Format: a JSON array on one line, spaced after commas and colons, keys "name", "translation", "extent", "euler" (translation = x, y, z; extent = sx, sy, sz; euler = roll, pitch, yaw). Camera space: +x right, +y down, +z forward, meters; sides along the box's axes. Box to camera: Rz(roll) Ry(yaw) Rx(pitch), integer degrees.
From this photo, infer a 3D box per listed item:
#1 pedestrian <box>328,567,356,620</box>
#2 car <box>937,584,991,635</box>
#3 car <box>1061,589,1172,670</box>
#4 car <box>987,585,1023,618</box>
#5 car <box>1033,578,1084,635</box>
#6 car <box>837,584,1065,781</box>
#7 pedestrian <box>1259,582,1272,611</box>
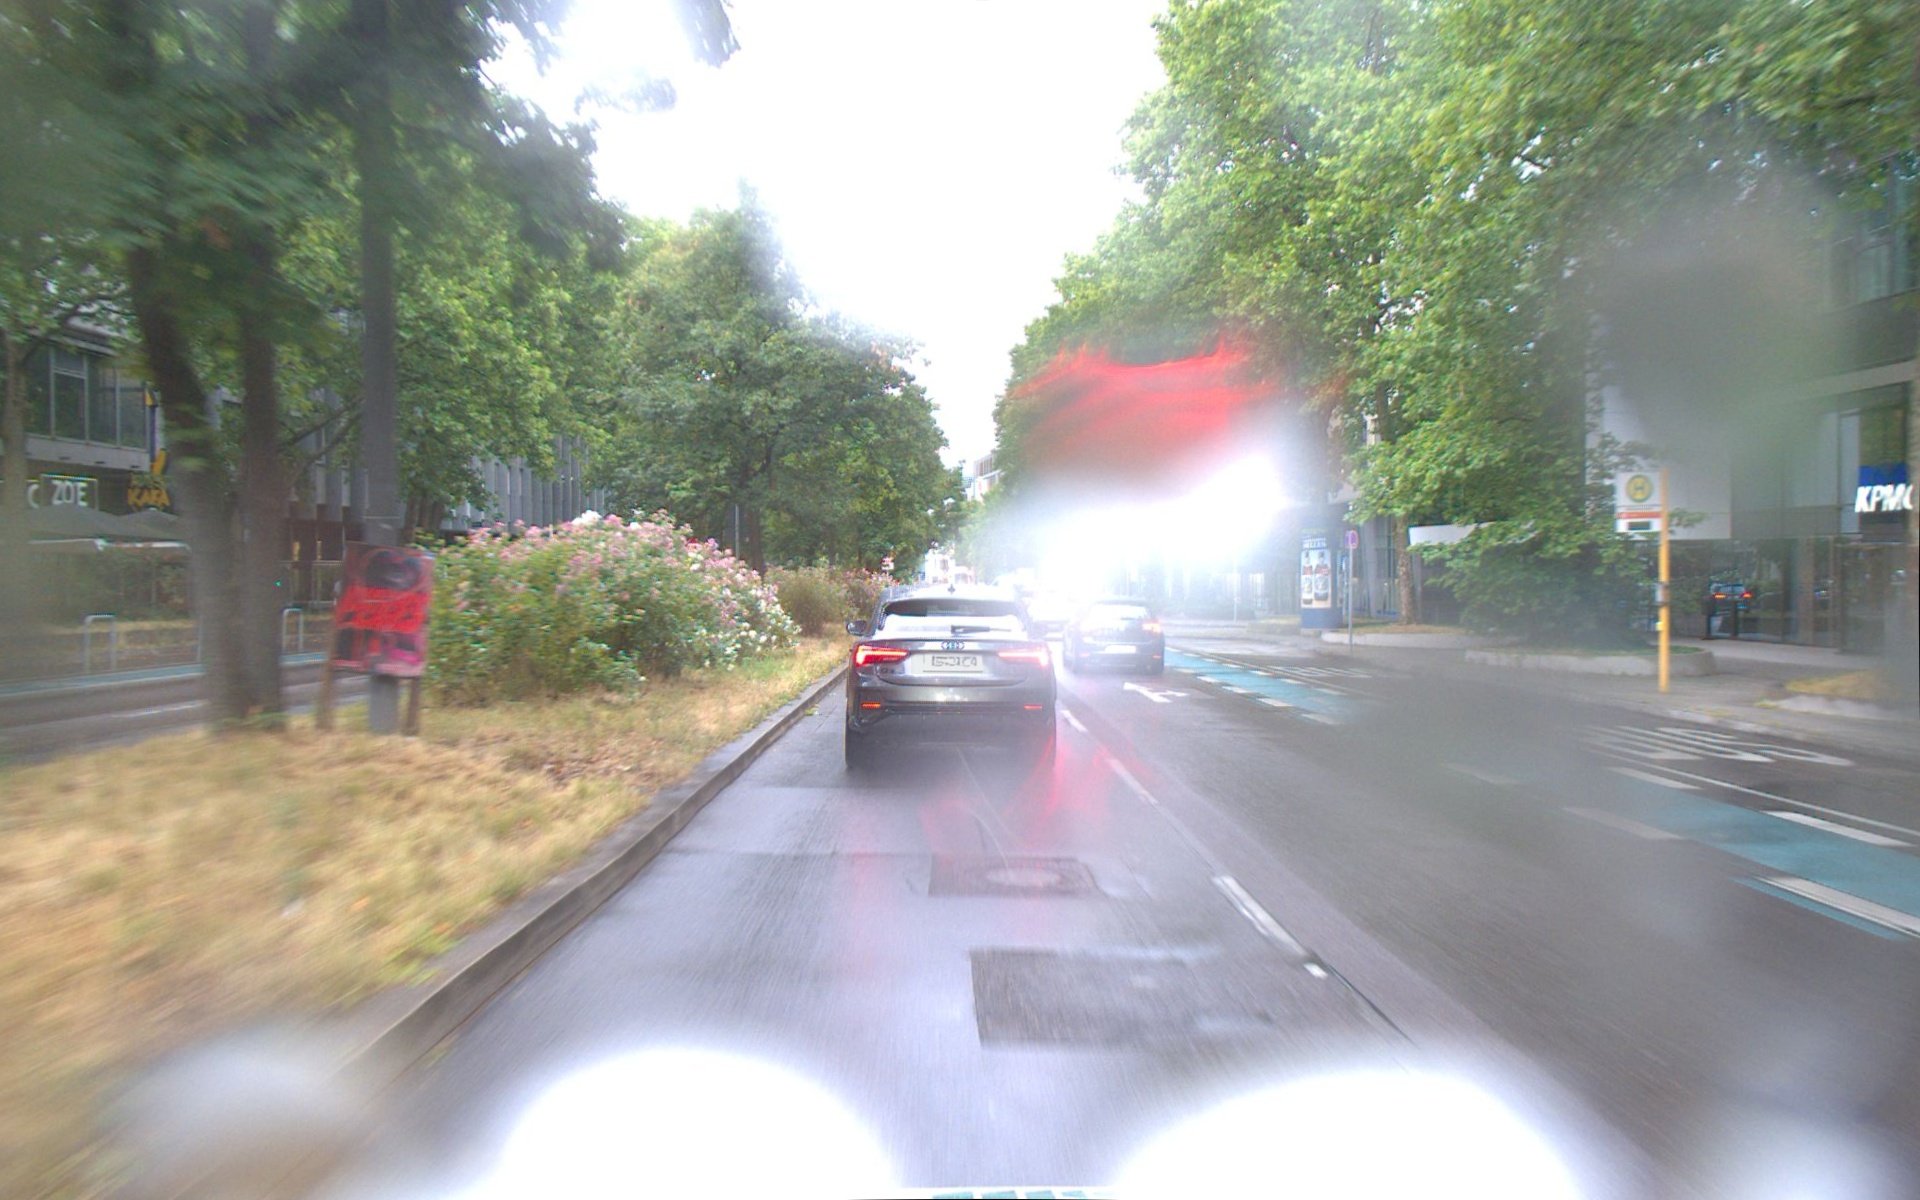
[{"name": "pedestrian", "translation": [-23.989, -0.263, 64.213], "extent": [0.862, 2.049, 0.636], "euler": [0, 0, -1]}, {"name": "car", "translation": [0.102, 0.273, 54.475], "extent": [1.686, 1.605, 3.961], "euler": [0, 1, -1]}, {"name": "car", "translation": [2.984, 0.525, 32.241], "extent": [1.729, 1.437, 3.999], "euler": [-1, 1, -1]}, {"name": "car", "translation": [2.525, 0.053, 93.951], "extent": [1.953, 1.780, 4.000], "euler": [0, 1, 0]}, {"name": "car", "translation": [3.067, 0.189, 51.933], "extent": [1.404, 1.714, 2.979], "euler": [-1, 1, 0]}, {"name": "car", "translation": [-0.042, 0.636, 15.502], "extent": [1.825, 1.559, 4.527], "euler": [0, 1, 1]}, {"name": "pedestrian", "translation": [19.451, -0.216, 105.315], "extent": [0.637, 1.847, 0.655], "euler": [0, 0, -1]}]
